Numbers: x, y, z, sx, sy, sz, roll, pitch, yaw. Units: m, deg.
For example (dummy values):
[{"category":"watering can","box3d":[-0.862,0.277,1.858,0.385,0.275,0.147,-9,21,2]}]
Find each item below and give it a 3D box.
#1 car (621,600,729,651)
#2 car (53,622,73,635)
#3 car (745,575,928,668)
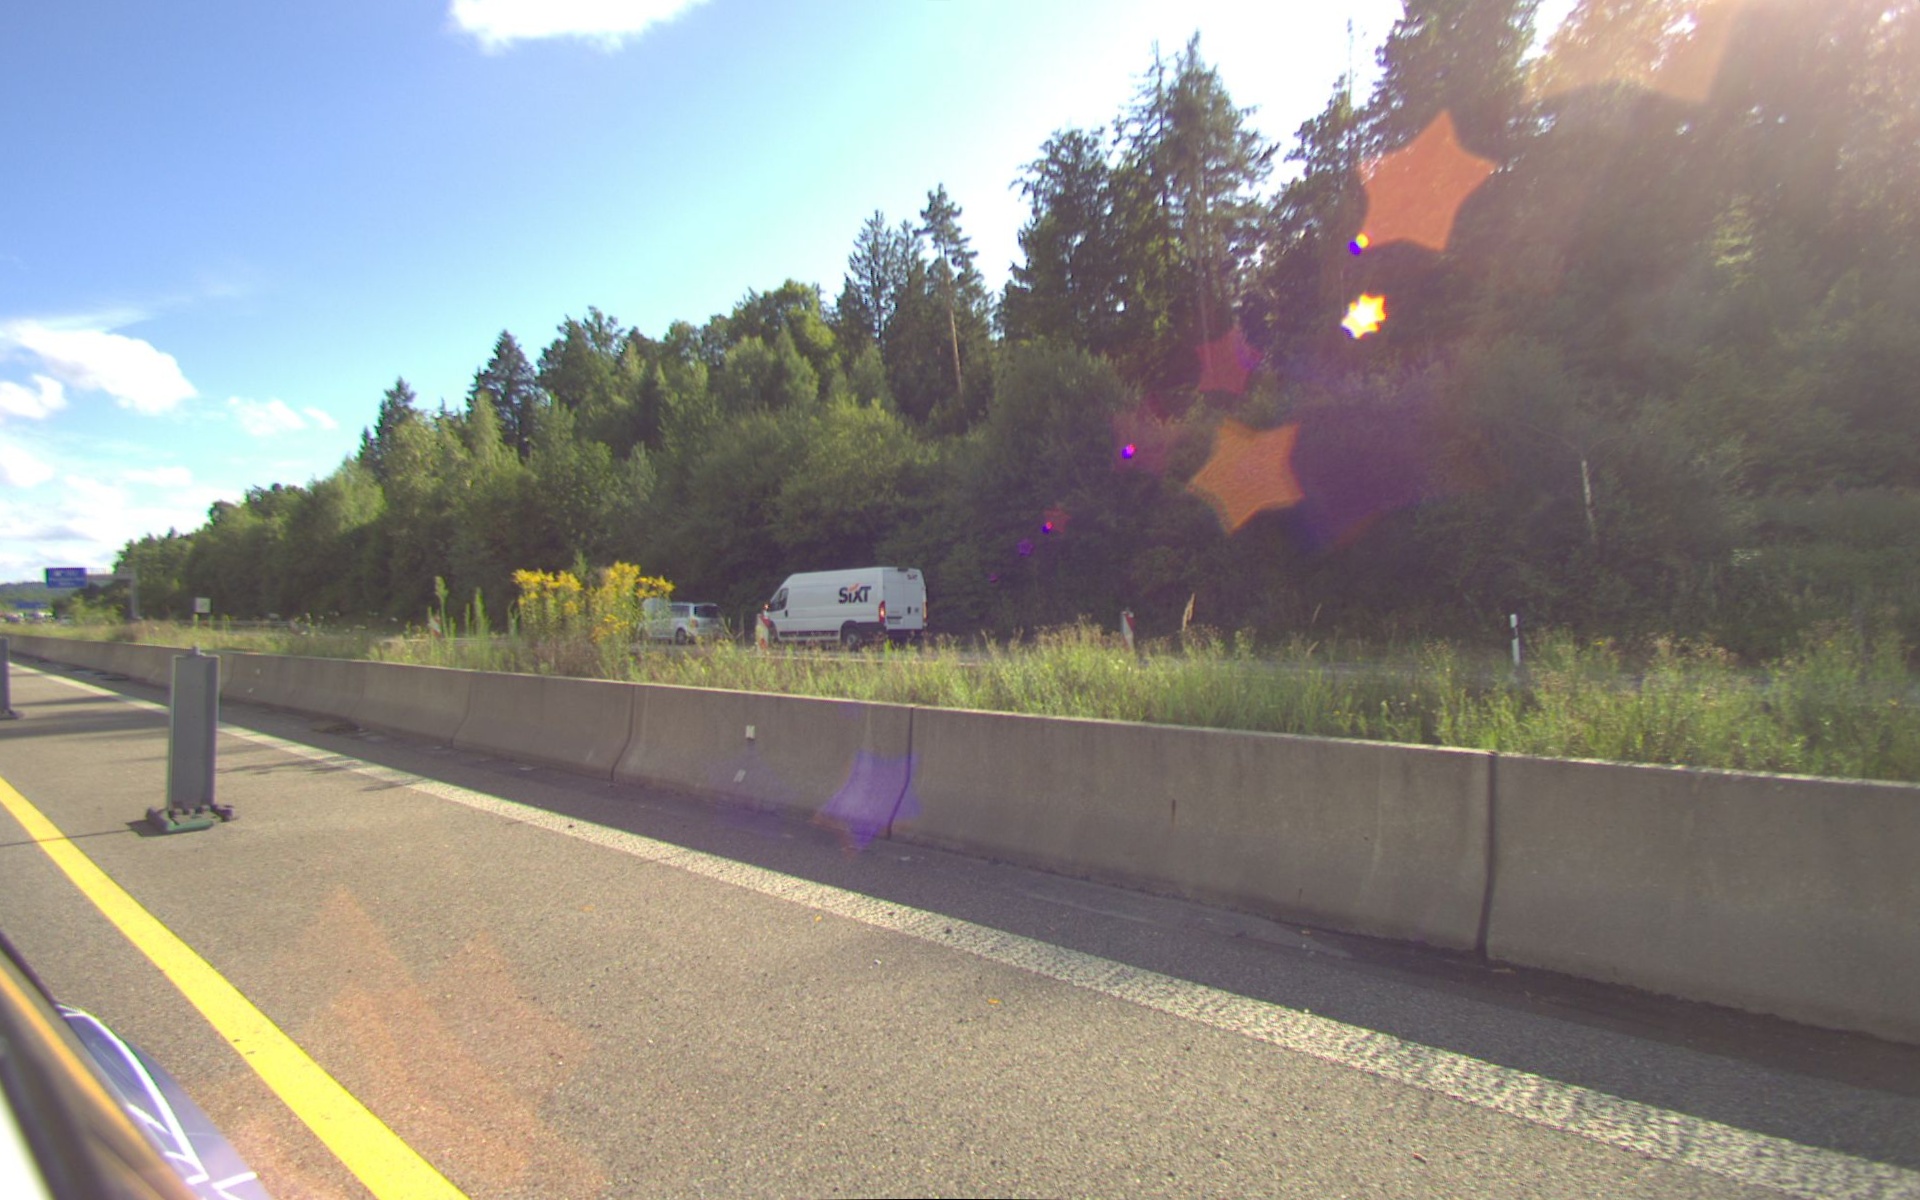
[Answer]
[{"category":"car","box3d":[-11.188,0.966,39.554,4.761,1.867,1.840,-1,0,42]},{"category":"car","box3d":[-134.910,4.261,152.147,4.364,1.799,1.759,-1,0,42]},{"category":"car","box3d":[-4.053,0.650,32.219,6.522,2.705,2.006,-1,0,43]}]
